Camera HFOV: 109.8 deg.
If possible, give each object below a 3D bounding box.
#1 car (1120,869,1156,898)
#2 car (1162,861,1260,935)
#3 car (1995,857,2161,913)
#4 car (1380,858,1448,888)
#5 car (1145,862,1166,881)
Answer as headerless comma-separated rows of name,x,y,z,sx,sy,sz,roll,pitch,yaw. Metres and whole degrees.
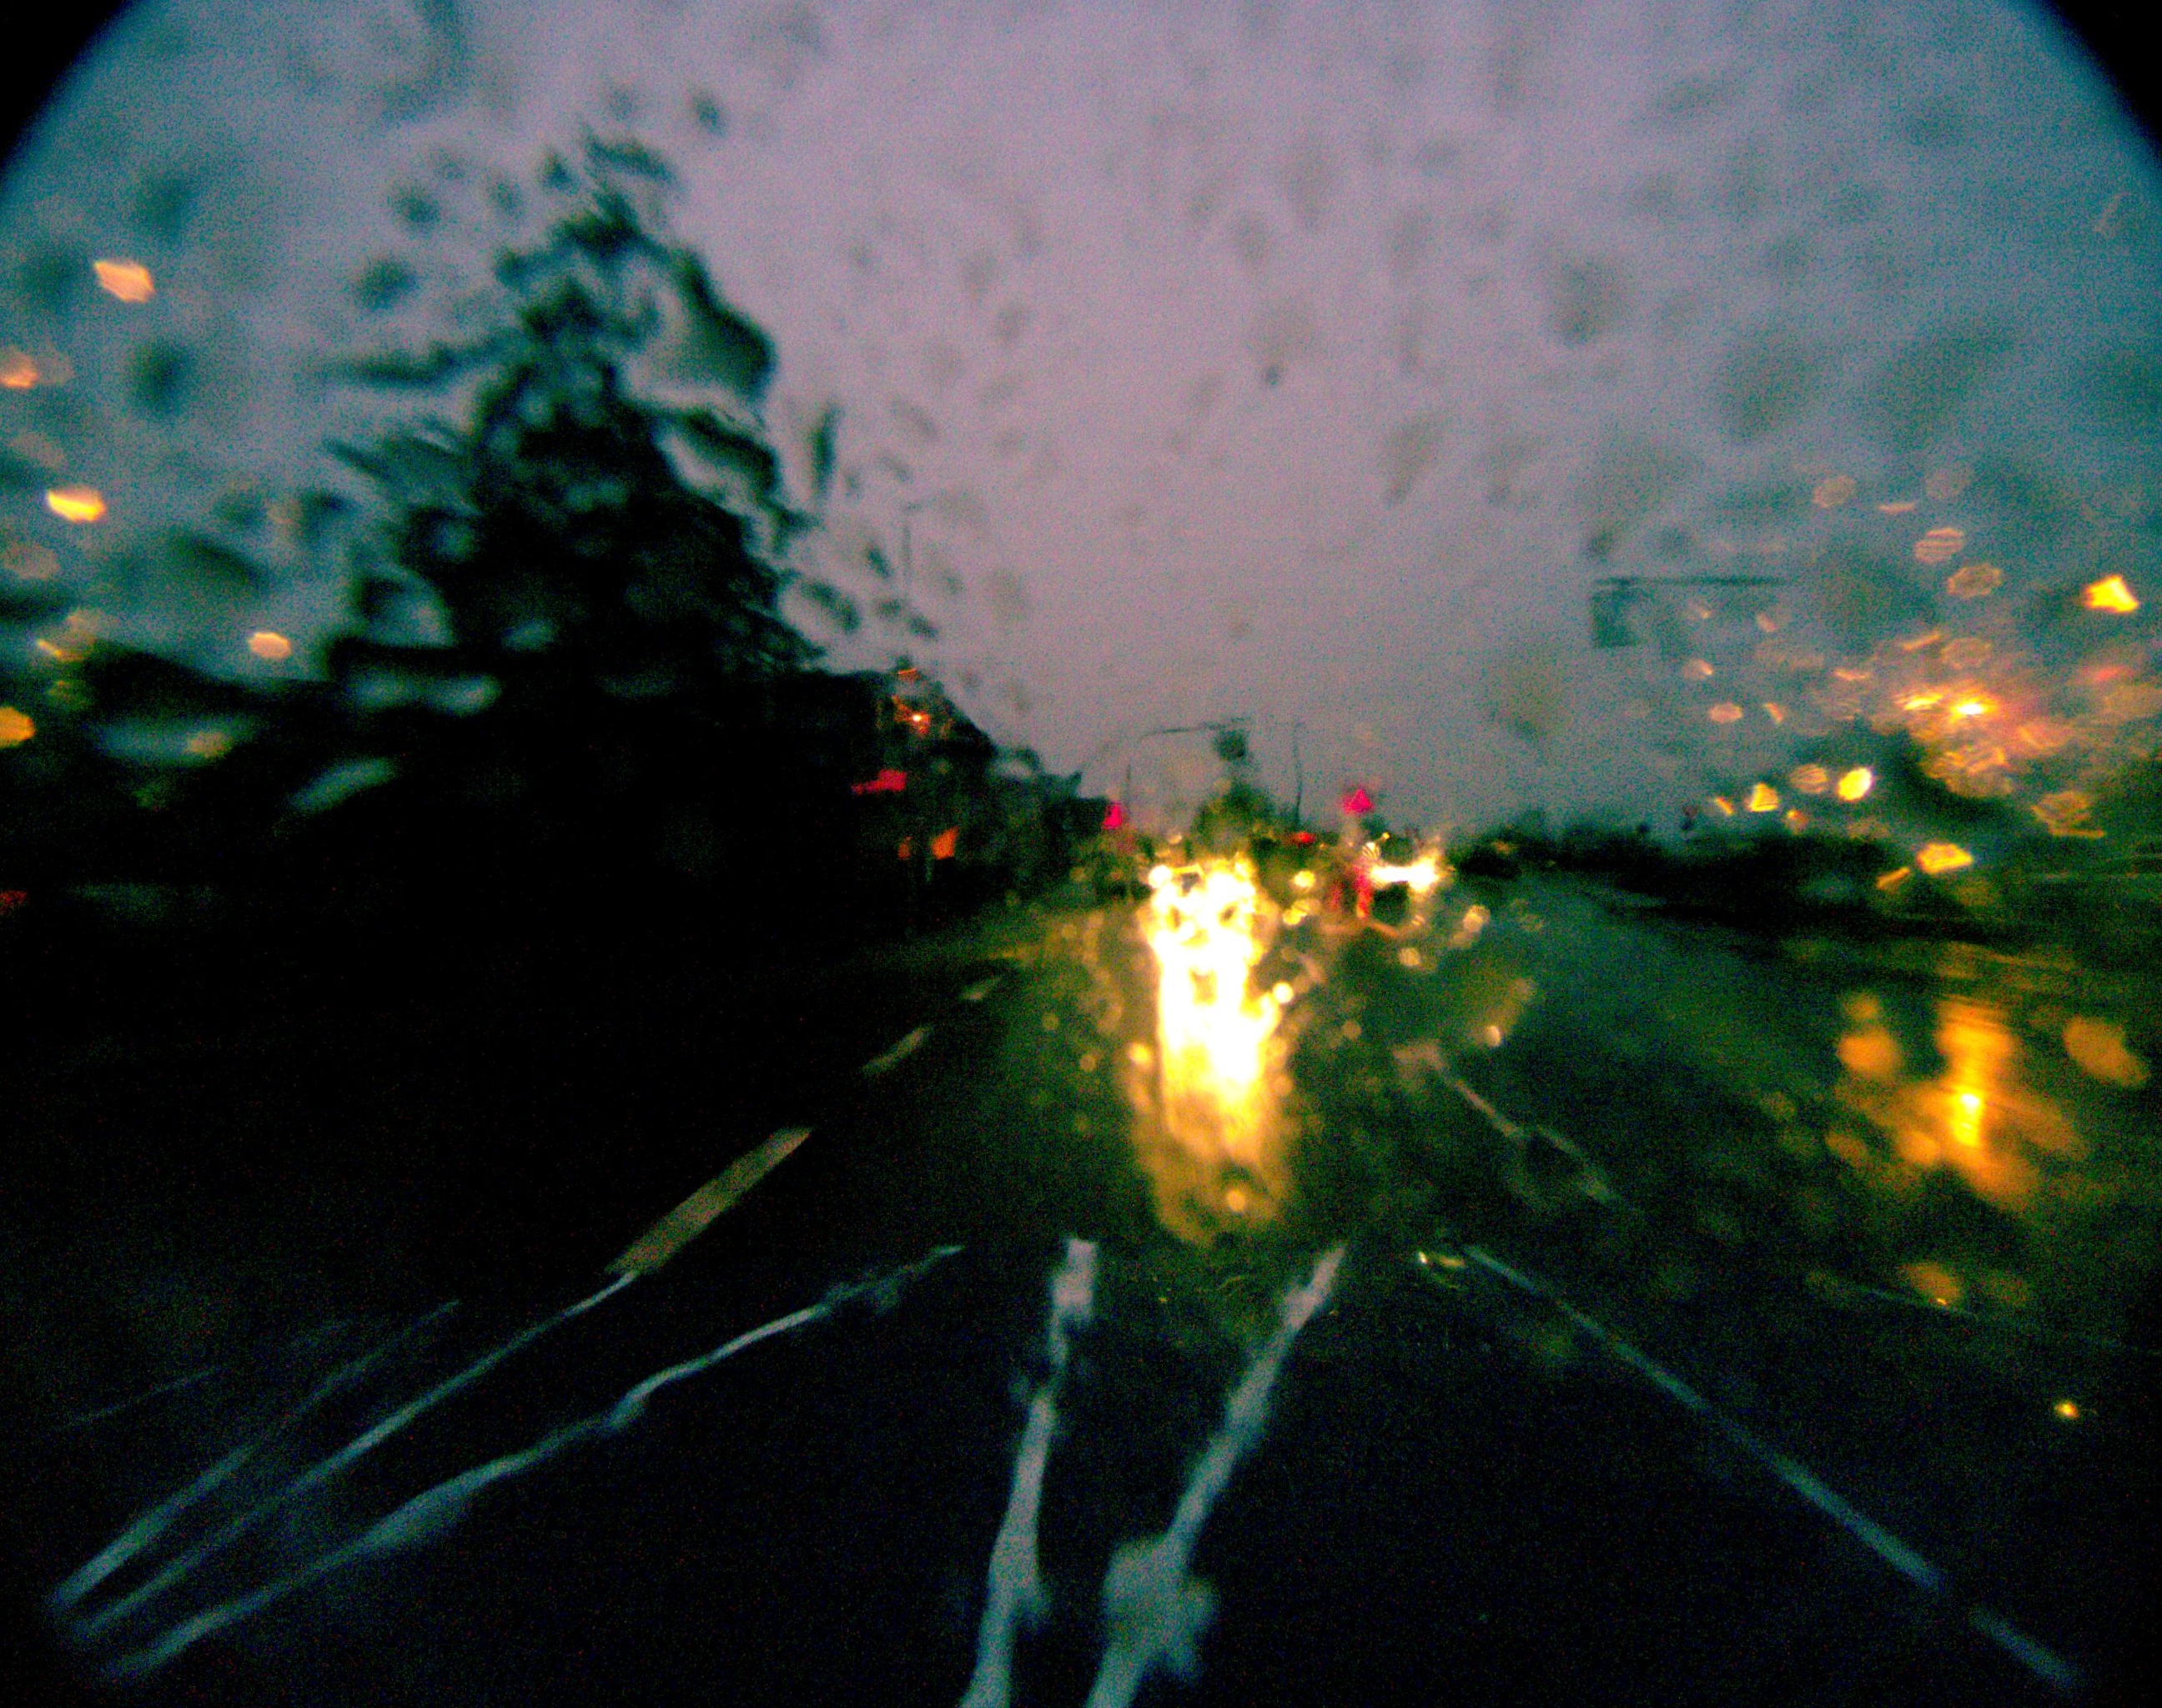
car,3.093,1.538,40.608,1.775,1.422,3.799,-2,-1,6
car,3.429,1.015,19.350,1.773,1.632,4.428,-1,-1,19
car,30.266,0.850,21.876,1.689,1.527,4.779,0,0,-15
car,17.616,0.974,40.097,1.994,1.464,4.008,-2,-1,43
car,7.233,1.672,73.442,1.947,1.795,4.175,-1,-1,6
